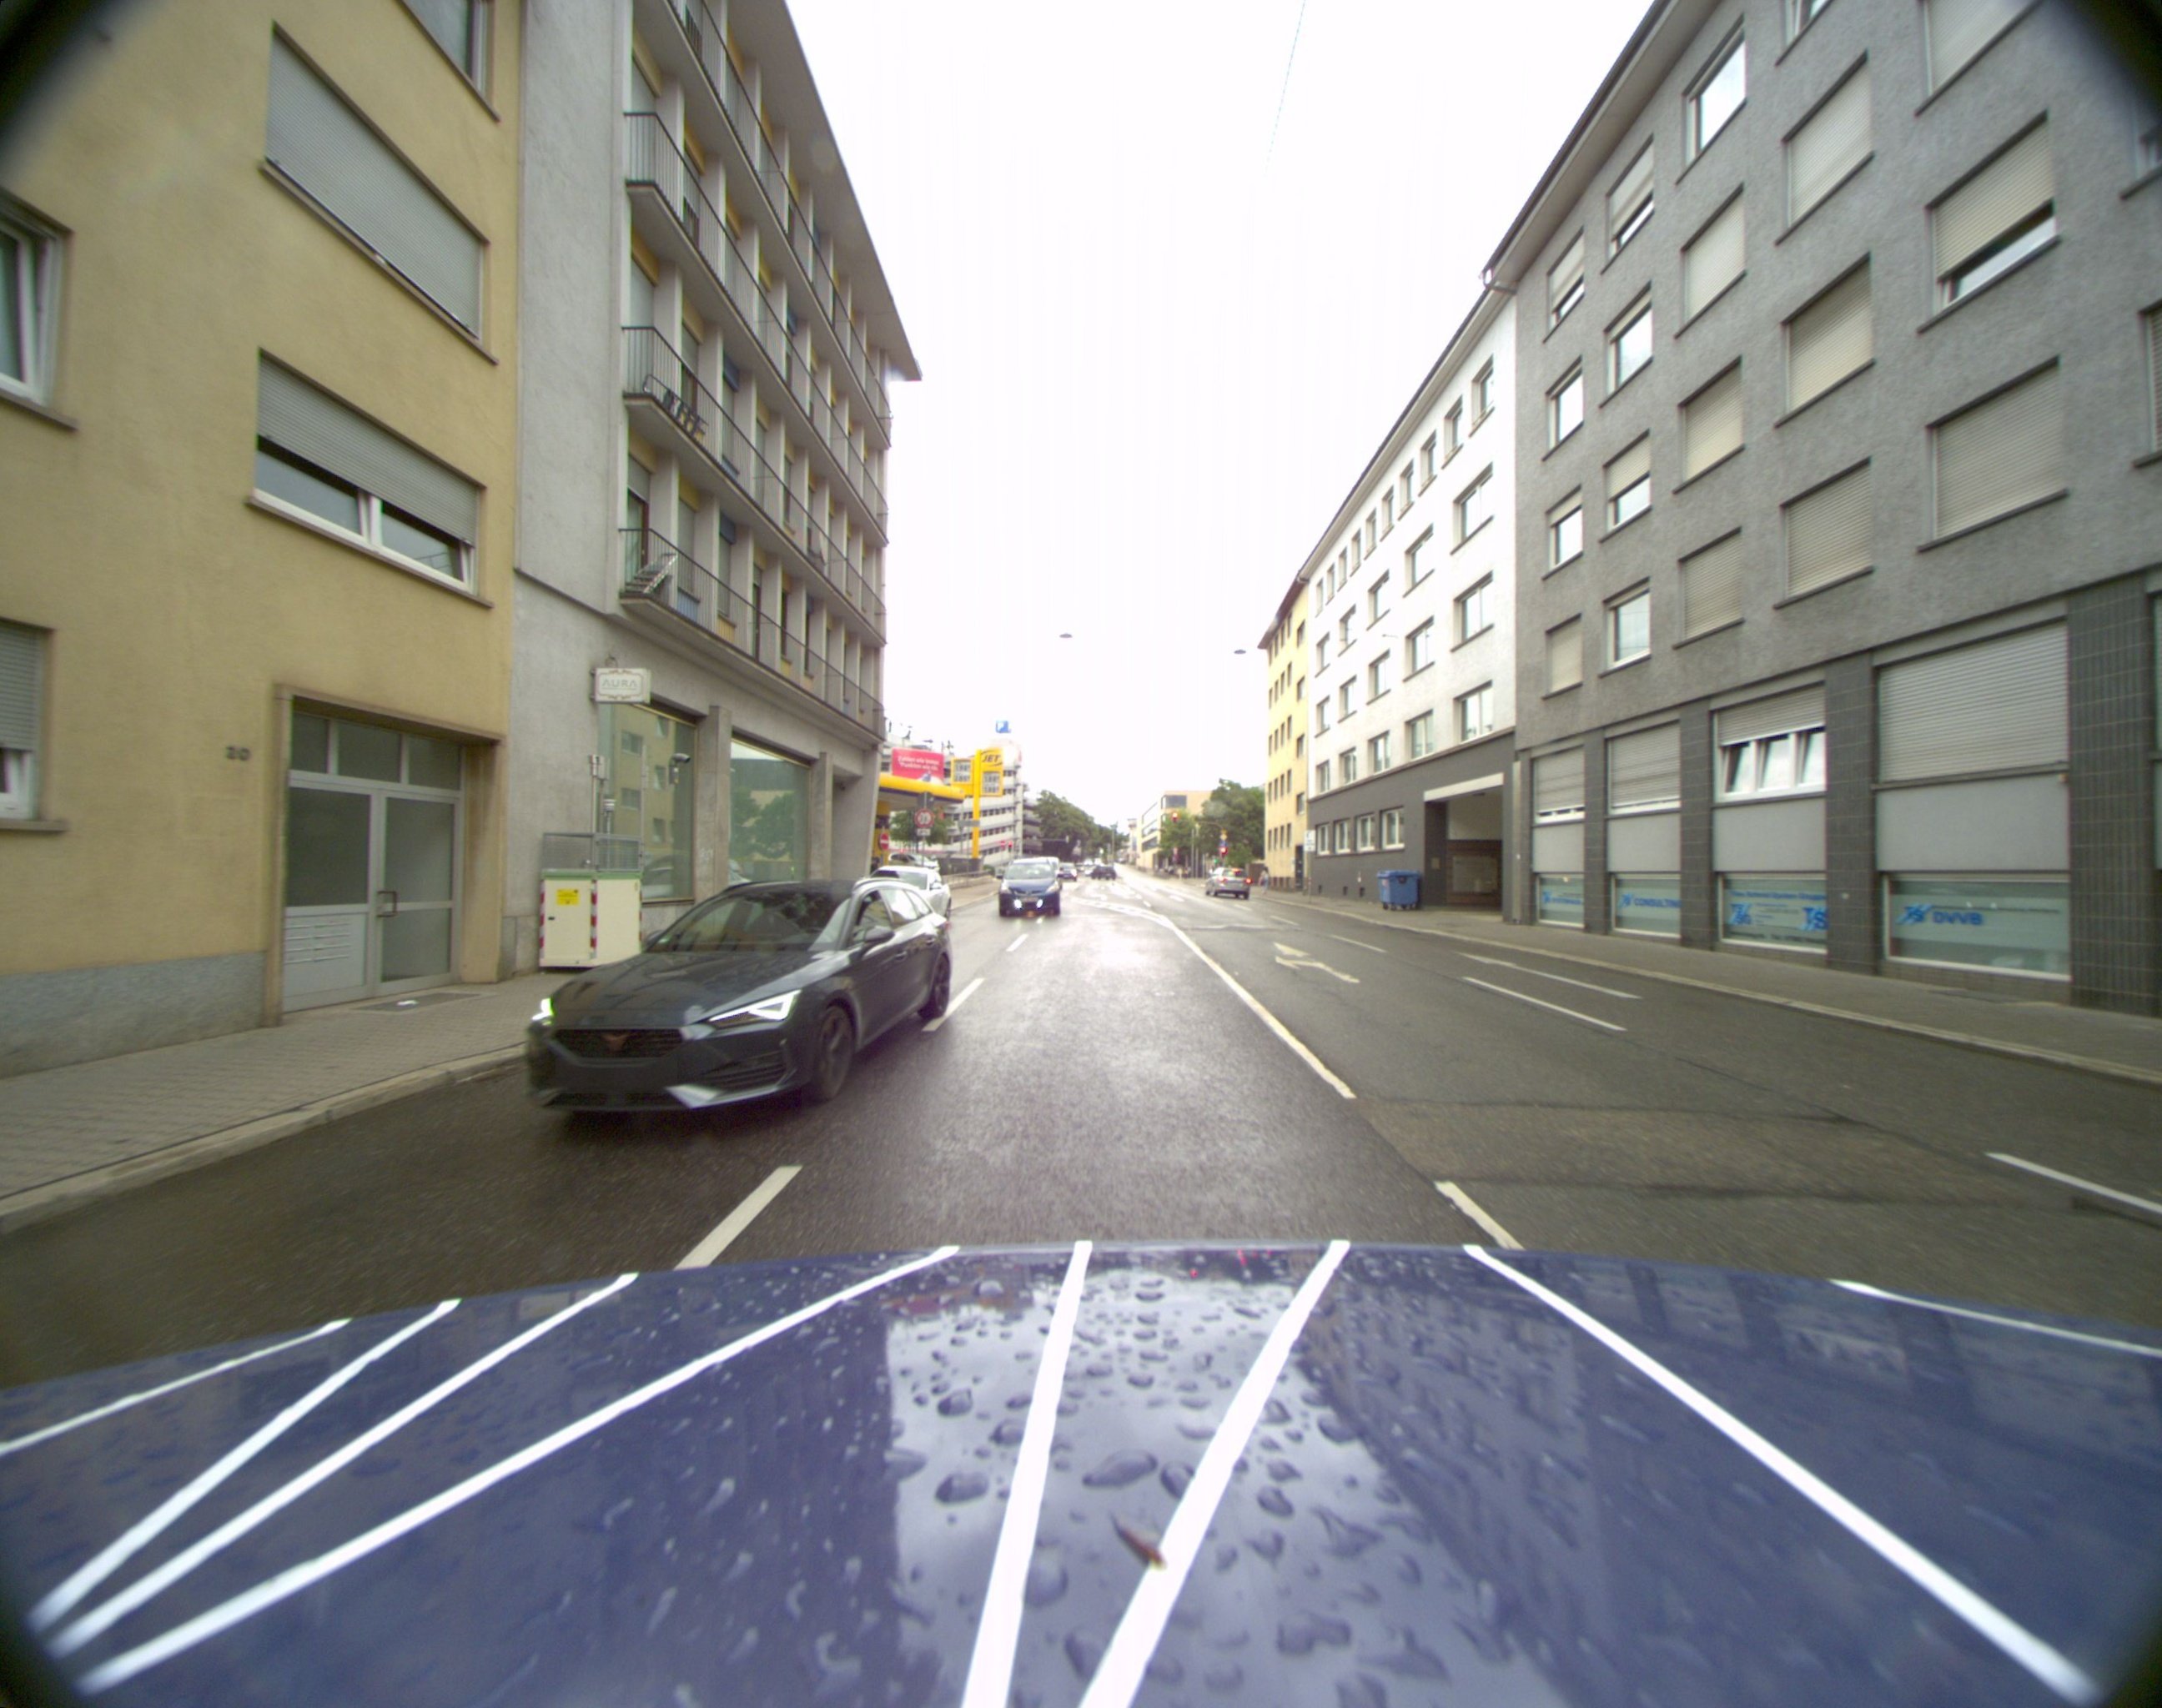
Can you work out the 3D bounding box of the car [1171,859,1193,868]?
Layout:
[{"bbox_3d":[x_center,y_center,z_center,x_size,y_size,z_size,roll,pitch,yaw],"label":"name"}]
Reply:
[{"bbox_3d":[18.363,1.709,138.286,3.995,1.575,2.001,-1,0,6],"label":"car"}]

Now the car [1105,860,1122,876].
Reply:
[{"bbox_3d":[3.479,1.477,80.952,1.812,1.585,4.296,1,-1,3],"label":"car"}]

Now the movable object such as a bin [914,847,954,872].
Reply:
[{"bbox_3d":[-9.565,0.369,49.654,2.160,1.546,1.773,2,0,2],"label":"movable object such as a bin"}]

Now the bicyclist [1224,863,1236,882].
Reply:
[{"bbox_3d":[11.777,1.447,60.175,0.844,1.433,0.813,-1,0,4],"label":"bicyclist"}]

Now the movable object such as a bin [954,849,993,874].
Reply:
[{"bbox_3d":[-7.018,0.506,49.728,2.160,1.565,1.773,1,0,2],"label":"movable object such as a bin"}]

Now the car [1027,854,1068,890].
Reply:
[{"bbox_3d":[-1.749,0.955,41.014,1.804,1.817,3.951,-2,-1,3],"label":"car"}]

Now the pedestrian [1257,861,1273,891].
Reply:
[{"bbox_3d":[10.328,1.244,42.733,0.719,1.679,0.811,-1,0,4],"label":"pedestrian"}]

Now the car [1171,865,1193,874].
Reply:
[{"bbox_3d":[18.648,2.866,140.729,3.995,1.575,2.001,-1,0,6],"label":"car"}]

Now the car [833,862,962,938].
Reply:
[{"bbox_3d":[-4.191,0.990,18.189,1.898,1.394,4.608,5,0,0],"label":"car"}]

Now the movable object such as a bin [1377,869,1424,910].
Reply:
[{"bbox_3d":[10.692,1.166,25.481,1.079,1.316,1.191,-1,0,2],"label":"movable object such as a bin"}]

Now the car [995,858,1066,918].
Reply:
[{"bbox_3d":[-1.420,0.953,22.835,1.846,1.646,4.000,0,0,0],"label":"car"}]

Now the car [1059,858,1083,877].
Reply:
[{"bbox_3d":[-0.862,1.203,67.243,1.804,1.561,3.951,-2,-1,3],"label":"car"}]

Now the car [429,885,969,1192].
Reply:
[{"bbox_3d":[-2.307,1.033,6.153,1.738,1.380,4.584,-1,0,5],"label":"car"}]

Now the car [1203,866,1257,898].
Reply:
[{"bbox_3d":[7.373,1.349,38.088,1.831,1.408,4.296,4,-1,1],"label":"car"}]

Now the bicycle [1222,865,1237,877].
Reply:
[{"bbox_3d":[11.767,1.344,60.158,0.887,0.902,1.867,-1,0,4],"label":"bicycle"}]

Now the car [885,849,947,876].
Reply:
[{"bbox_3d":[-9.969,0.504,45.748,1.750,1.433,3.987,2,1,-45],"label":"car"}]

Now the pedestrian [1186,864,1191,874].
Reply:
[{"bbox_3d":[14.860,2.117,104.696,0.622,1.368,0.475,-1,0,2],"label":"pedestrian"}]

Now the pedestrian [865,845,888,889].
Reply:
[{"bbox_3d":[-8.305,0.524,30.883,0.661,1.761,0.528,3,1,-40],"label":"pedestrian"}]

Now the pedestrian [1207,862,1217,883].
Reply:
[{"bbox_3d":[10.626,1.501,61.524,0.719,1.679,0.811,-1,0,4],"label":"pedestrian"}]

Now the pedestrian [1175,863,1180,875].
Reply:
[{"bbox_3d":[13.274,2.070,104.997,0.595,1.761,0.692,-1,0,1],"label":"pedestrian"}]
